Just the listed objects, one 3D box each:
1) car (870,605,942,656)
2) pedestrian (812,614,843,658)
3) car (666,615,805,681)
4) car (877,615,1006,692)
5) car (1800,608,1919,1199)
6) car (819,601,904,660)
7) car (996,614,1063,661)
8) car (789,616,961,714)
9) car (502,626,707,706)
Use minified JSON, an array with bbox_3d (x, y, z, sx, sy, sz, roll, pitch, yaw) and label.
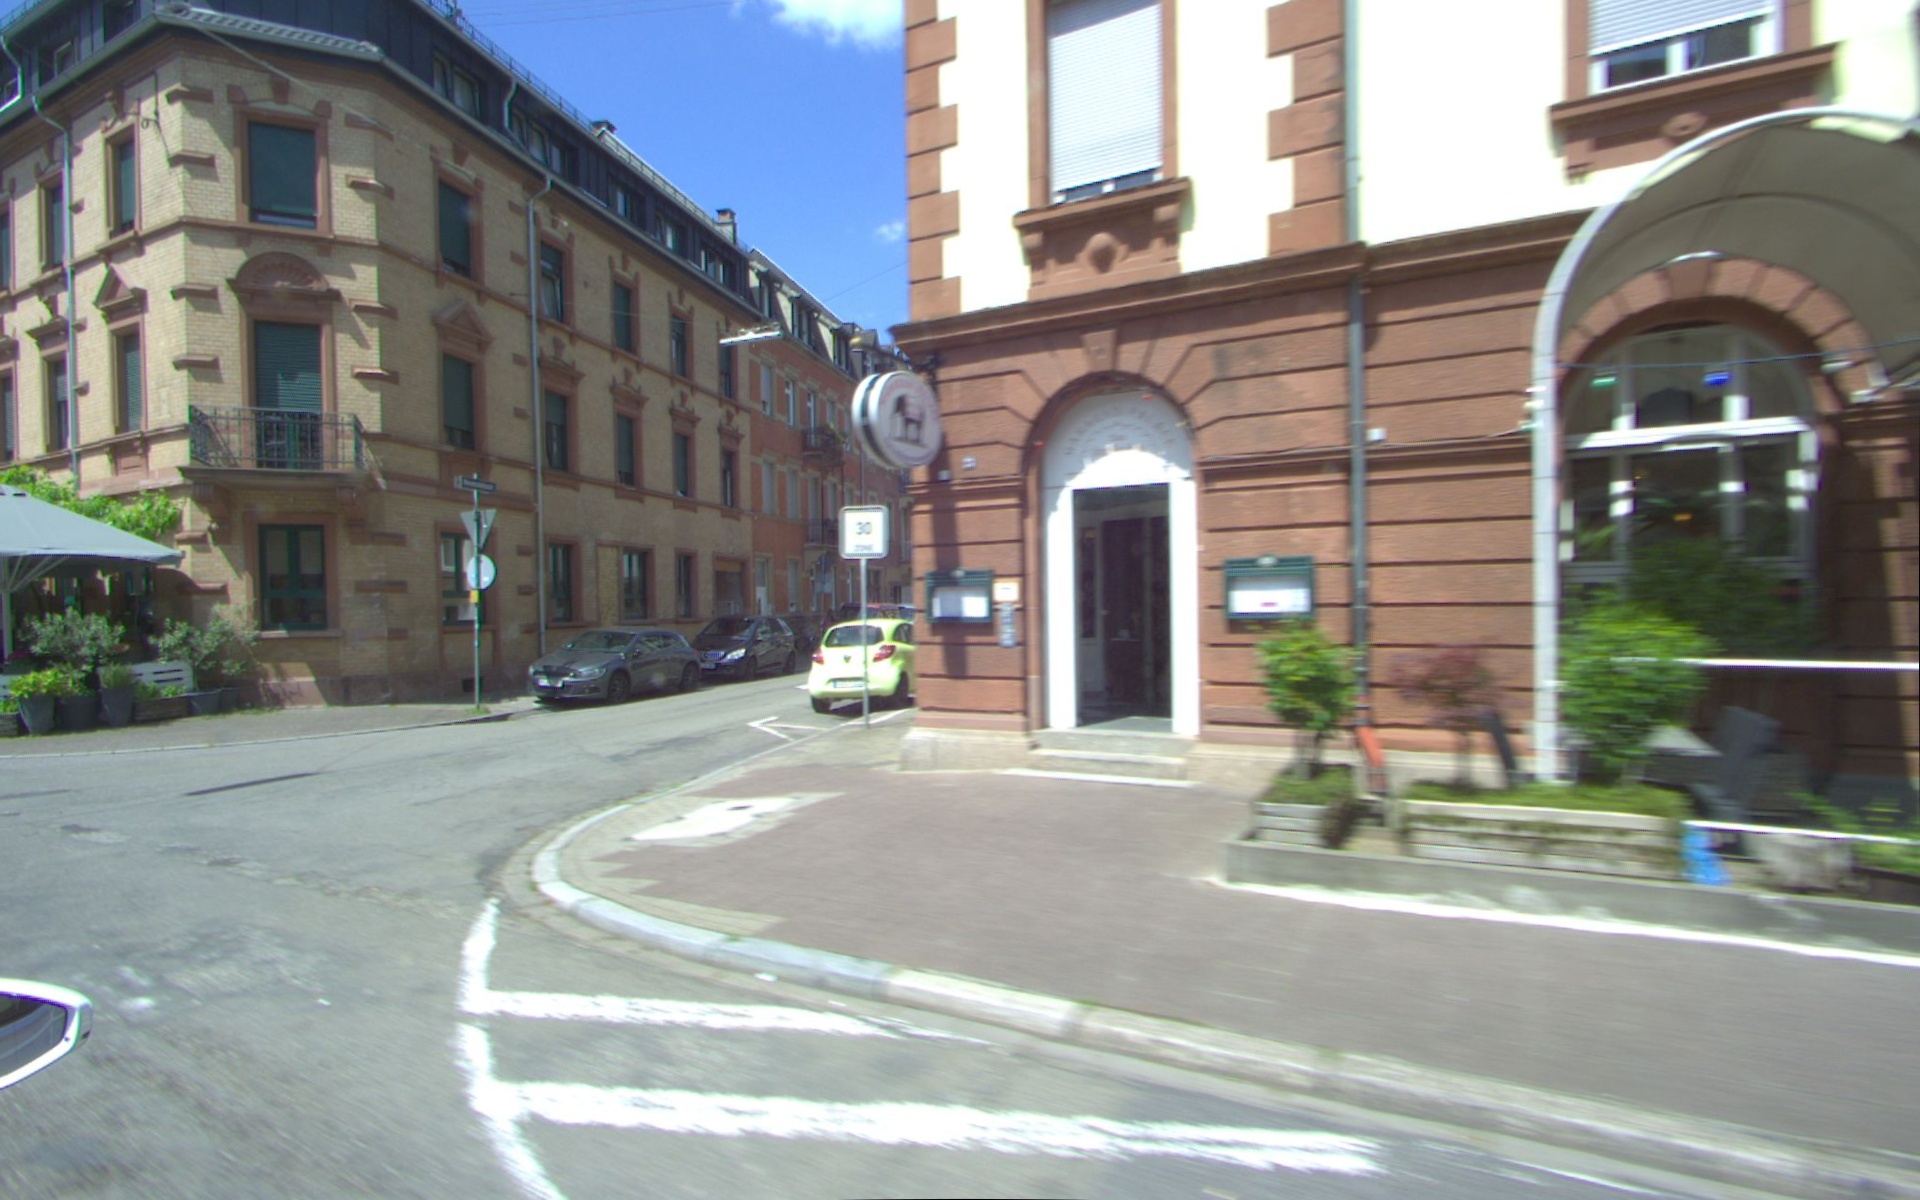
[{"bbox_3d":[-2.143,1.207,41.436,1.983,1.988,4.521,0,-1,10],"label":"car"},{"bbox_3d":[-4.963,1.349,37.545,0.913,1.642,0.805,0,0,11],"label":"pedestrian"},{"bbox_3d":[-5.715,1.181,26.037,1.881,1.556,4.132,0,-1,14],"label":"car"},{"bbox_3d":[-0.309,1.131,22.306,1.772,1.498,3.996,-3,-1,15],"label":"car"},{"bbox_3d":[3.325,0.725,0.785,3.723,1.497,1.758,-1,-2,26],"label":"car"},{"bbox_3d":[-3.487,1.079,36.330,1.982,1.988,4.522,0,-1,9],"label":"car"},{"bbox_3d":[2.532,1.284,35.638,1.699,1.498,3.997,-3,-1,13],"label":"car"},{"bbox_3d":[-1.390,1.094,18.046,1.772,1.498,3.996,-3,-1,15],"label":"car"},{"bbox_3d":[-7.035,1.249,20.275,1.882,1.382,3.994,0,-1,18],"label":"car"}]
